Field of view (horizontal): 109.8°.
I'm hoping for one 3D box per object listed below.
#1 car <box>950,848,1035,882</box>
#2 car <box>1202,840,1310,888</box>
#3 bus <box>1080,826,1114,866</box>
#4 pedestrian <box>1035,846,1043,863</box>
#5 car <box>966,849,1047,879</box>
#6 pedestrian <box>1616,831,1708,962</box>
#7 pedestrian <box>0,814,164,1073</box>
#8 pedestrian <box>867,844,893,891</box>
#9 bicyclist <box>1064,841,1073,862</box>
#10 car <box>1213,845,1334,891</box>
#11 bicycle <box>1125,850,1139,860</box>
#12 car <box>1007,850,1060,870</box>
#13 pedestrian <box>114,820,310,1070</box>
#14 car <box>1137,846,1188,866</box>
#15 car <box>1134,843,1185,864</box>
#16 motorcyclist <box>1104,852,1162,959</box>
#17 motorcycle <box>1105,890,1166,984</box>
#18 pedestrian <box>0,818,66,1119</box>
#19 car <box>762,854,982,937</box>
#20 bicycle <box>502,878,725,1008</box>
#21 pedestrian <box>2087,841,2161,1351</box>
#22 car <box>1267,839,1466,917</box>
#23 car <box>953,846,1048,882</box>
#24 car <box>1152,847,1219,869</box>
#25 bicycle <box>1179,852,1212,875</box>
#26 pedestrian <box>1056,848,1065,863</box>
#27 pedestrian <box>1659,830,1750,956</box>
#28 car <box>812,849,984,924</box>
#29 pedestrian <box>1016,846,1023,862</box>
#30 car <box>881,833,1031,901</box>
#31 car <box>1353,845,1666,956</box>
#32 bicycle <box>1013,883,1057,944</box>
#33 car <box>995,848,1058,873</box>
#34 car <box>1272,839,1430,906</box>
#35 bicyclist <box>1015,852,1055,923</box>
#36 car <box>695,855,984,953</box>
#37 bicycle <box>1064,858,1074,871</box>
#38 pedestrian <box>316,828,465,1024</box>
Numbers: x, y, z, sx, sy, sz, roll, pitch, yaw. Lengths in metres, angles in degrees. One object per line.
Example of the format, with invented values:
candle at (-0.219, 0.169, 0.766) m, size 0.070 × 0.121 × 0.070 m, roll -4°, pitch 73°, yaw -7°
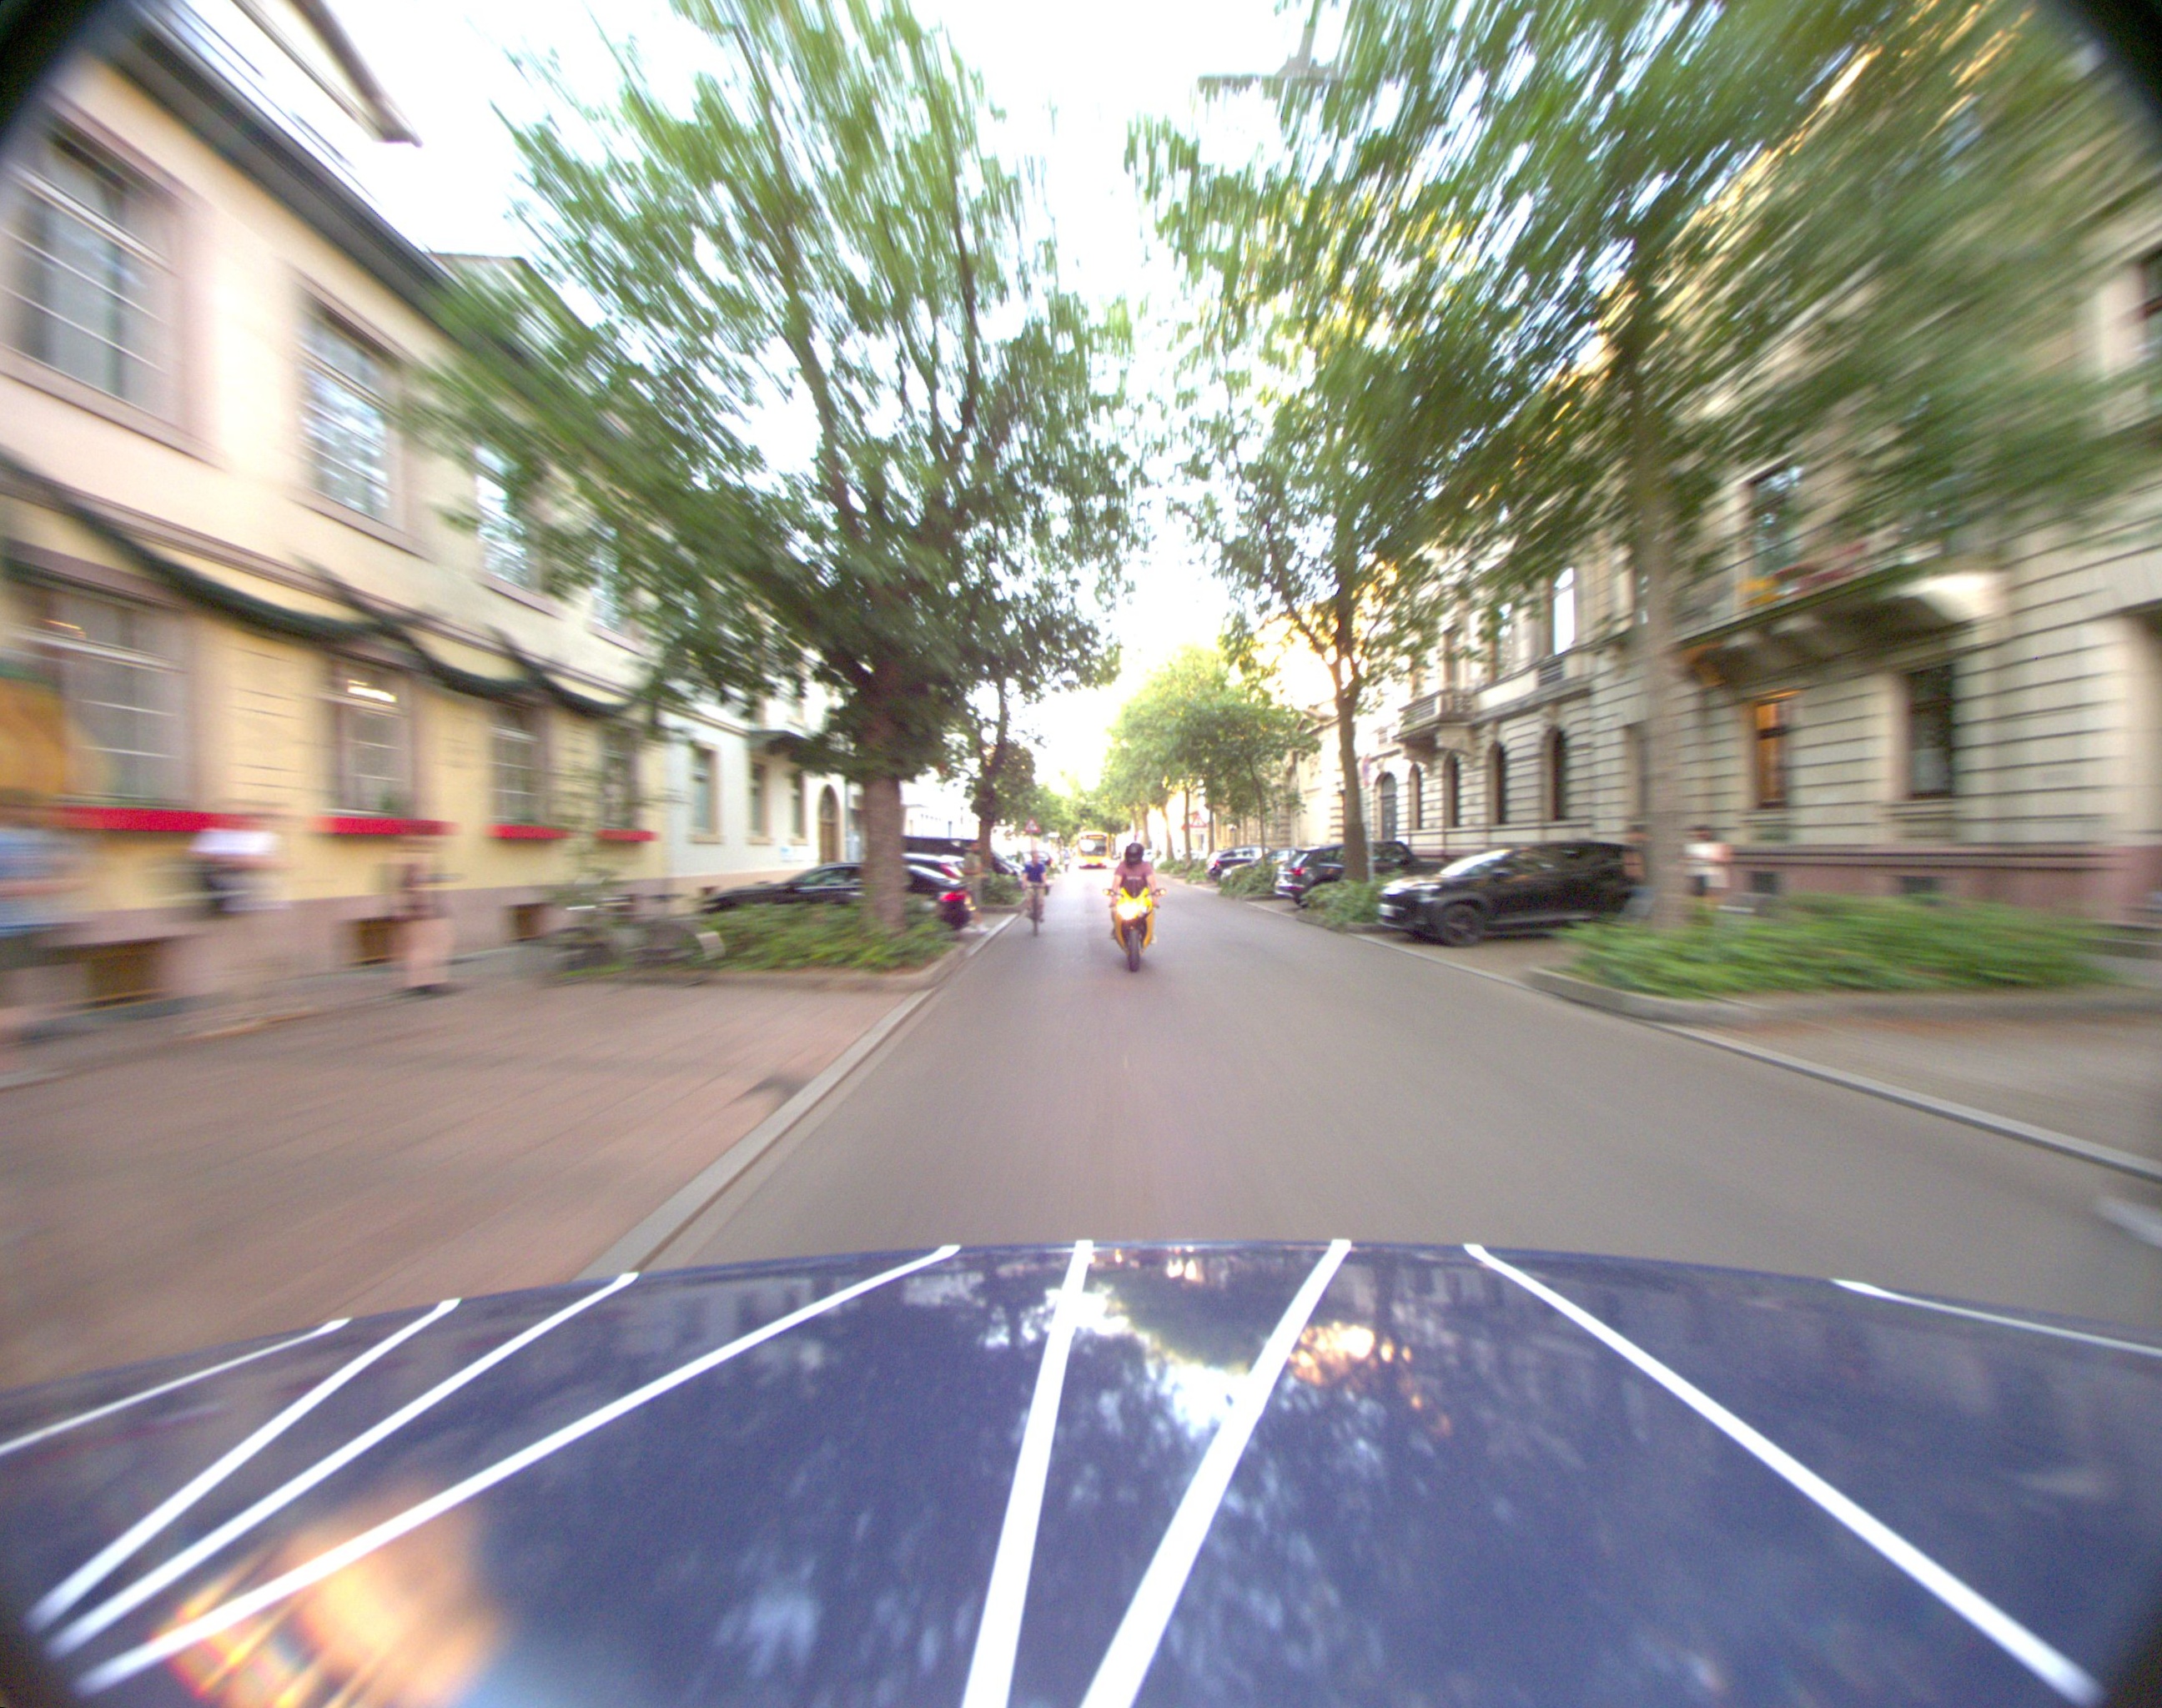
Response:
car at (-4.122, 0.495, 35.914) m, size 3.802 × 1.415 × 1.697 m, roll 2°, pitch 1°, yaw -1°
car at (7.211, 0.384, 31.580) m, size 3.975 × 1.587 × 1.780 m, roll -5°, pitch 1°, yaw 0°
bus at (1.311, -0.703, 68.389) m, size 2.668 × 3.176 × 11.897 m, roll -2°, pitch 0°, yaw 0°
pedestrian at (-4.264, 0.055, 77.096) m, size 0.574 × 1.764 × 0.546 m, roll 2°, pitch 1°, yaw 41°
car at (-3.970, 0.507, 41.086) m, size 4.083 × 1.421 × 1.818 m, roll 2°, pitch 1°, yaw 2°
pedestrian at (7.975, 0.565, 10.461) m, size 0.736 × 1.729 × 0.671 m, roll -2°, pitch 1°, yaw 7°
pedestrian at (-7.376, 0.598, 5.528) m, size 0.725 × 1.728 × 0.746 m, roll 1°, pitch 0°, yaw 27°
pedestrian at (-7.050, 0.469, 26.683) m, size 0.670 × 1.589 × 0.737 m, roll -2°, pitch 1°, yaw 0°
bicyclist at (-0.978, -0.159, 58.269) m, size 0.637 × 1.552 × 0.818 m, roll -3°, pitch 0°, yaw -1°
car at (7.038, 0.513, 28.073) m, size 3.975 × 1.379 × 1.765 m, roll -4°, pitch 0°, yaw 1°
bicycle at (6.312, 0.150, 93.302) m, size 0.805 × 1.217 × 2.422 m, roll -5°, pitch -2°, yaw 24°
car at (-3.645, 0.462, 58.902) m, size 3.997 × 1.429 × 1.794 m, roll -1°, pitch 1°, yaw 1°
pedestrian at (-6.504, 0.627, 5.712) m, size 0.712 × 1.728 × 0.749 m, roll 1°, pitch 0°, yaw 20°
car at (6.913, 0.135, 64.421) m, size 4.180 × 1.548 × 1.826 m, roll -1°, pitch 1°, yaw 3°
car at (7.400, -0.066, 71.932) m, size 4.436 × 1.712 × 1.890 m, roll -3°, pitch 1°, yaw -2°
motorcyclist at (0.711, 0.694, 10.534) m, size 0.737 × 1.404 × 0.726 m, roll -2°, pitch 1°, yaw 2°
motorcycle at (0.718, 1.091, 10.575) m, size 0.737 × 1.053 × 1.964 m, roll -2°, pitch 1°, yaw 2°
pedestrian at (-6.505, 0.654, 4.316) m, size 0.616 × 1.728 × 0.623 m, roll 1°, pitch 0°, yaw 0°
car at (-4.176, 0.814, 15.710) m, size 3.997 × 1.429 × 1.926 m, roll 2°, pitch 1°, yaw -1°
bicycle at (-4.727, 0.892, 7.792) m, size 1.800 × 1.226 × 0.672 m, roll 2°, pitch 1°, yaw -9°
pedestrian at (3.858, 0.789, 2.248) m, size 0.795 × 1.661 × 0.833 m, roll 1°, pitch 1°, yaw 32°
car at (7.003, 0.567, 18.973) m, size 4.211 × 1.662 × 1.907 m, roll -3°, pitch 0°, yaw 0°
car at (-4.021, 0.478, 38.693) m, size 4.602 × 1.569 × 1.944 m, roll 2°, pitch 1°, yaw -1°
car at (7.389, 0.283, 54.114) m, size 4.524 × 1.382 × 1.916 m, roll -1°, pitch 1°, yaw 1°
bicycle at (6.452, 0.514, 42.887) m, size 1.775 × 1.225 × 0.500 m, roll -1°, pitch 2°, yaw 5°
pedestrian at (-2.102, 0.180, 76.976) m, size 0.600 × 1.503 × 0.719 m, roll 1°, pitch 1°, yaw -29°
pedestrian at (8.941, 0.543, 10.921) m, size 0.736 × 1.729 × 0.671 m, roll -2°, pitch 1°, yaw 7°
car at (-4.330, 0.733, 18.374) m, size 3.689 × 1.569 × 1.714 m, roll 2°, pitch 1°, yaw 1°
pedestrian at (-6.965, -0.011, 85.580) m, size 0.699 × 1.844 × 1.049 m, roll 0°, pitch 1°, yaw -2°
car at (-4.143, 0.417, 25.792) m, size 4.701 × 1.999 × 2.037 m, roll 2°, pitch 1°, yaw 0°
car at (6.722, 0.691, 12.294) m, size 3.954 × 1.523 × 1.907 m, roll -2°, pitch 1°, yaw 3°
bicycle at (-0.887, 1.140, 15.125) m, size 0.674 × 1.024 × 1.977 m, roll -3°, pitch 0°, yaw 1°
car at (-3.720, 0.449, 52.390) m, size 4.120 × 1.608 × 1.961 m, roll -1°, pitch 1°, yaw 1°
car at (7.556, 0.508, 21.541) m, size 3.811 × 1.662 × 1.714 m, roll -3°, pitch 0°, yaw -1°
bicyclist at (-0.904, 0.653, 15.149) m, size 0.674 × 1.355 × 0.776 m, roll -3°, pitch 1°, yaw 0°
car at (-4.027, 0.823, 13.264) m, size 4.412 × 1.386 × 1.885 m, roll 2°, pitch 1°, yaw -2°
bicycle at (-0.931, 0.801, 58.297) m, size 0.637 × 0.977 × 1.981 m, roll -3°, pitch 0°, yaw -1°
pedestrian at (-6.425, 0.642, 7.108) m, size 0.707 × 1.728 × 0.726 m, roll 1°, pitch 0°, yaw 2°
